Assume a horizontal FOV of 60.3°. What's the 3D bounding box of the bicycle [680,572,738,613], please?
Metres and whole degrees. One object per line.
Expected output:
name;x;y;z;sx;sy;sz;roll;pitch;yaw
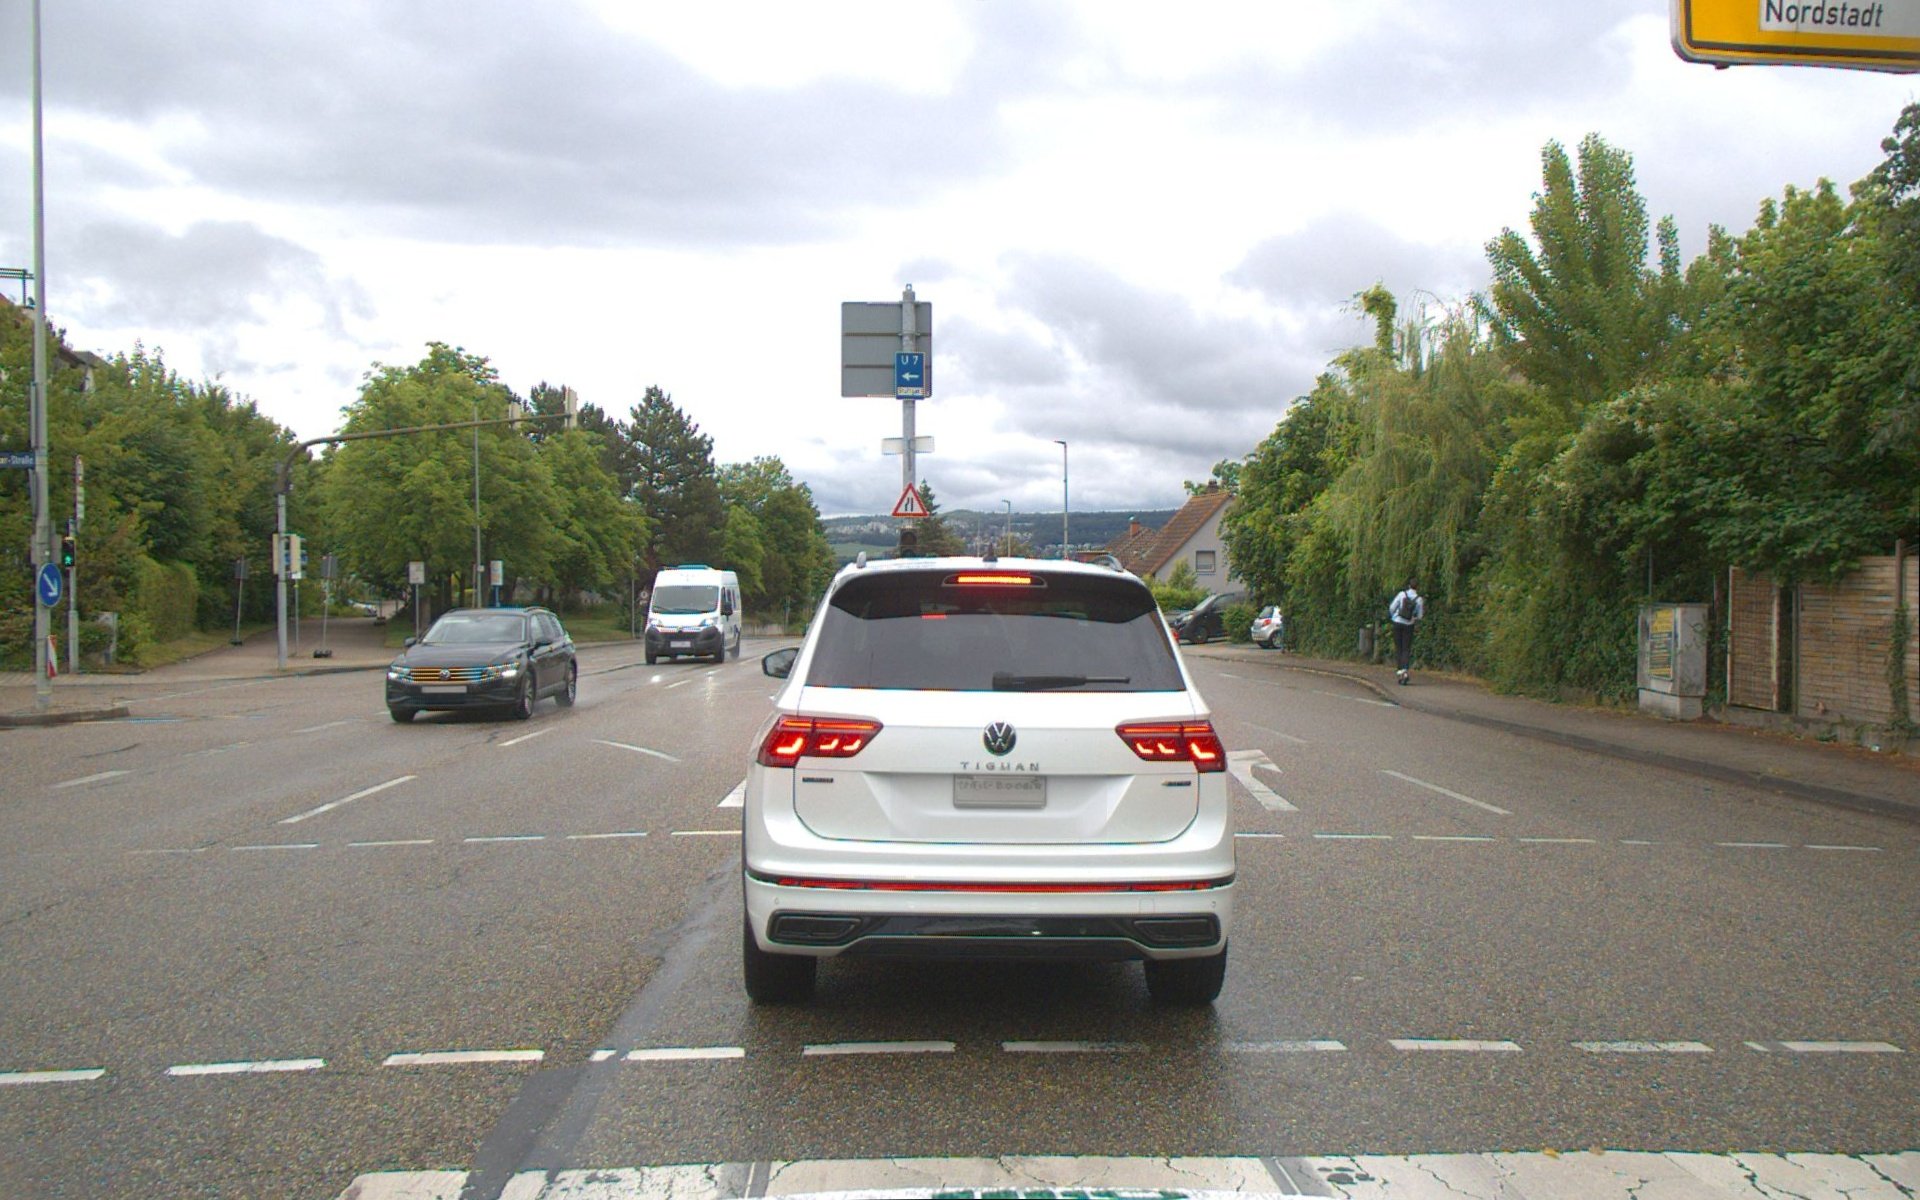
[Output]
bicycle;-7.374;-0.219;48.673;1.603;1.145;0.468;-2;1;-3

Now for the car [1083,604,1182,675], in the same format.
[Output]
car;3.726;0.828;36.231;1.593;1.427;3.687;1;0;-3

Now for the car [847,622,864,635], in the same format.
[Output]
car;-14.216;3.870;225.125;1.953;1.758;3.999;2;0;-1

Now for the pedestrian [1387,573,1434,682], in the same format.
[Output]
pedestrian;8.487;0.508;31.176;0.642;2.037;0.717;0;0;-4

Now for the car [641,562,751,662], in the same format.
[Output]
car;-7.177;0.292;45.559;2.251;2.572;5.772;0;0;-2

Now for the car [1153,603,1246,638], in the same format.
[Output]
car;10.010;0.871;69.251;3.613;1.394;1.518;1;-2;-3

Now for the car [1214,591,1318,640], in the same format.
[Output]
car;11.441;0.573;61.965;3.556;1.777;1.706;0;1;-5

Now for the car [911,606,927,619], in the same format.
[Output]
car;-4.949;1.524;200.793;1.813;1.602;3.999;-1;0;-1

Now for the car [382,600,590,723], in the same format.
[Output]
car;-6.540;0.781;23.305;1.740;1.528;4.470;-1;0;-2

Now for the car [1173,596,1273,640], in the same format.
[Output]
car;10.226;0.686;64.427;3.556;1.654;1.789;0;0;-5

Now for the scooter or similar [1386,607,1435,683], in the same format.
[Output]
scooter or similar;8.462;0.836;31.103;0.452;1.385;1.383;0;0;-4

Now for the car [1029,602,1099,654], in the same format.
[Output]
car;3.130;0.811;50.600;1.631;1.452;4.302;2;0;-3

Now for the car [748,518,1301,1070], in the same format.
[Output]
car;0.149;0.601;7.351;1.727;1.725;4.271;1;0;-2

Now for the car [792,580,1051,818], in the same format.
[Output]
car;-0.276;0.680;13.344;1.762;1.617;3.926;1;0;0

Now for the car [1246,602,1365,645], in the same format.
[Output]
car;11.822;0.802;56.665;3.644;1.420;1.725;0;-1;-8
